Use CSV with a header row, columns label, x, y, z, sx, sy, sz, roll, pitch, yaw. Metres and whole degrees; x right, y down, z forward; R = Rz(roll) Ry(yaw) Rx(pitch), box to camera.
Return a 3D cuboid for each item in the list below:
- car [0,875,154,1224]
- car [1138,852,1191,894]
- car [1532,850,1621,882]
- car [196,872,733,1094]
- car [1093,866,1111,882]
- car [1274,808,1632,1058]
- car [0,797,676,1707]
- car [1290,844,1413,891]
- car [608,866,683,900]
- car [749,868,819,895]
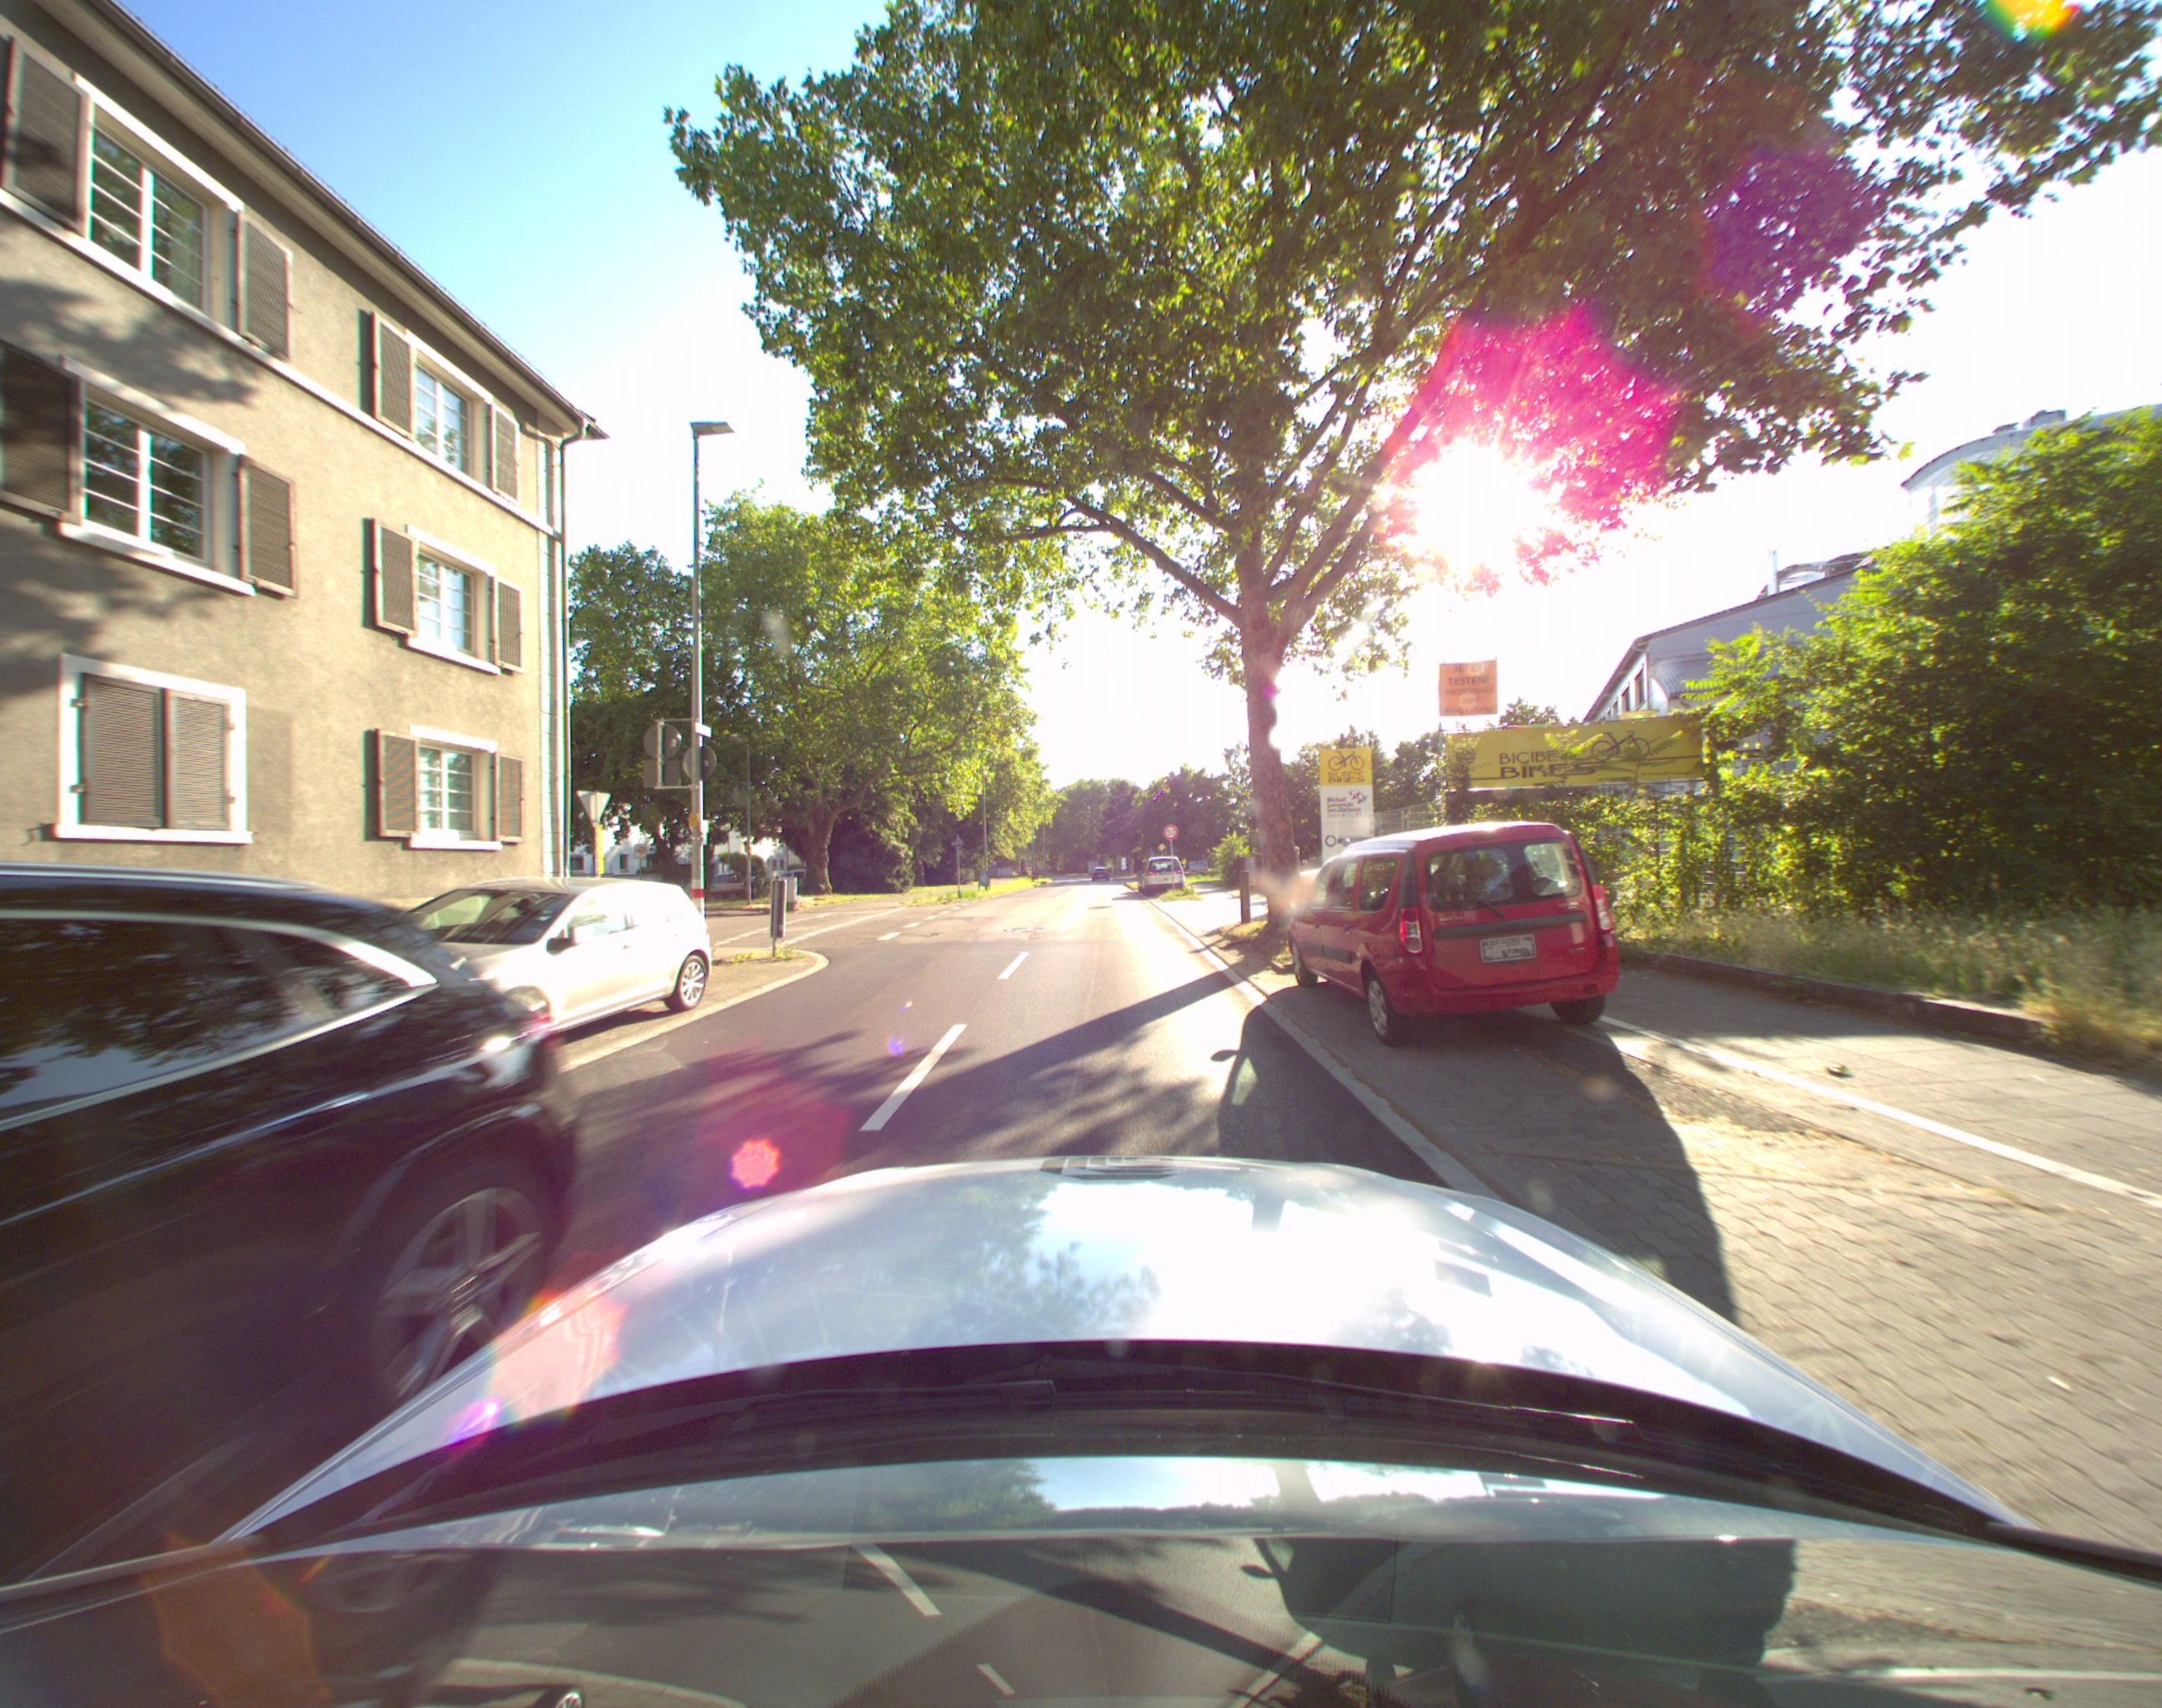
label,x,y,z,sx,sy,sz,roll,pitch,yaw
car,-5.542,0.831,2.061,1.701,1.507,4.052,0,-1,0
car,3.871,0.882,38.465,1.987,1.759,4.917,-4,-1,1
car,27.471,0.705,45.284,3.951,1.574,1.920,-3,-2,23
car,-5.153,0.929,7.688,1.754,1.483,4.111,0,-1,3
car,2.217,2.097,85.292,1.832,1.605,3.864,-2,-1,2
car,3.111,0.582,7.881,1.592,1.690,4.339,-2,-1,3
car,-2.541,0.747,1.059,1.890,1.590,4.069,-2,-1,1
car,10.078,0.505,30.575,3.971,1.560,1.843,-2,-1,2
car,-31.755,2.108,59.452,4.300,2.289,2.000,-2,-1,1
car,-19.828,1.815,54.484,3.973,1.684,1.727,-1,-1,1
